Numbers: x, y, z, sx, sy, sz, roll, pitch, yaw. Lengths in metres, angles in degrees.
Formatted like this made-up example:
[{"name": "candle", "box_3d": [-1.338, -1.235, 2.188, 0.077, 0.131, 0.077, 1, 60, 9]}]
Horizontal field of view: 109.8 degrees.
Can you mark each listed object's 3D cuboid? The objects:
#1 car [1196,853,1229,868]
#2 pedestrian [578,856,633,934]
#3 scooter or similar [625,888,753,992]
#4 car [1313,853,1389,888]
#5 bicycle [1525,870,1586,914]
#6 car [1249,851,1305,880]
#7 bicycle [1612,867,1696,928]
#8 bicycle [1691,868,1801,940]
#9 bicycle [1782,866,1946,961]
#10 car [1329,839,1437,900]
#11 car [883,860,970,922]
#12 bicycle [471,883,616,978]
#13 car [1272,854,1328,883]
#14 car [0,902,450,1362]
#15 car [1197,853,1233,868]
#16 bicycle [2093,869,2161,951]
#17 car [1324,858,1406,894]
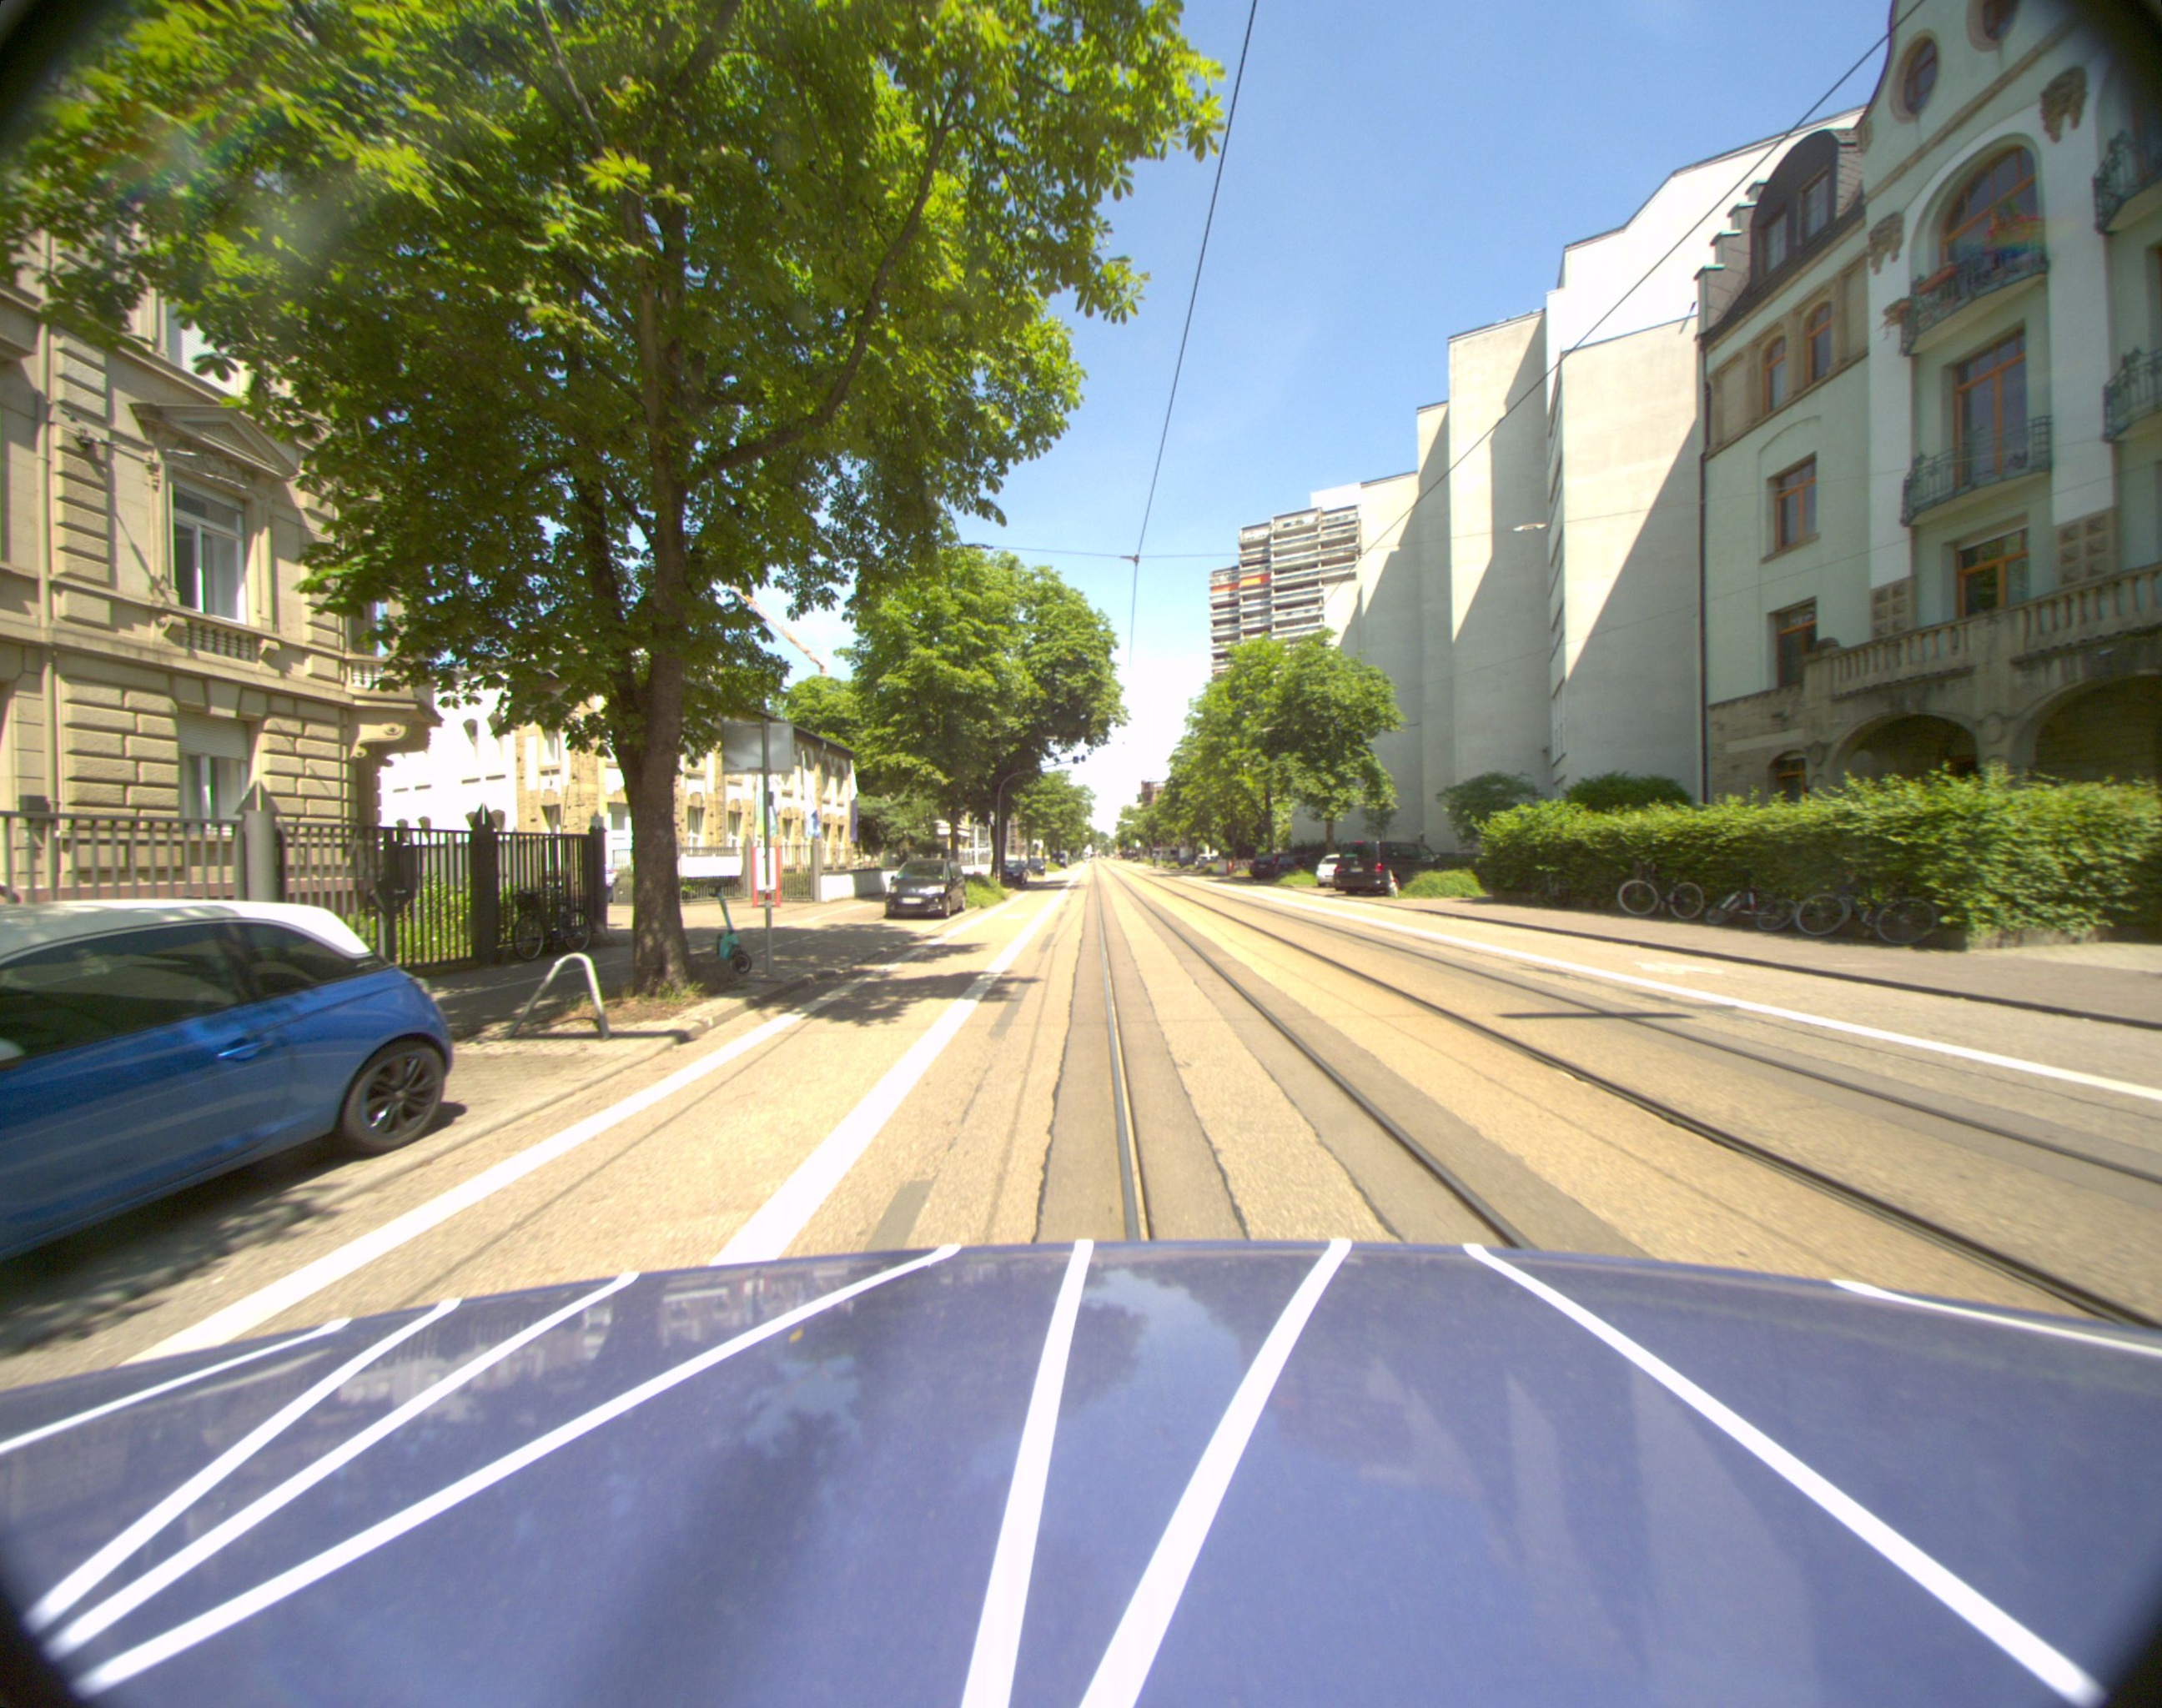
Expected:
[{"name": "car", "box_3d": [12.740, 0.637, 73.622, 3.316, 1.293, 1.361, -2, 1, -44]}, {"name": "pedestrian", "box_3d": [-10.254, 0.872, 16.394, 0.669, 1.627, 0.665, -2, 1, 18]}, {"name": "scooter or similar", "box_3d": [-5.080, 1.098, 9.904, 1.378, 1.225, 0.375, -2, 1, -13]}, {"name": "car", "box_3d": [12.189, 0.706, 34.194, 1.735, 1.417, 3.898, -1, 1, 44]}, {"name": "bicycle", "box_3d": [11.281, 0.886, 18.132, 0.340, 0.935, 1.728, -3, 0, 0]}, {"name": "car", "box_3d": [11.380, 0.666, 43.975, 1.636, 1.540, 3.815, -1, 1, 40]}, {"name": "bicycle", "box_3d": [11.125, 0.810, 14.816, 0.340, 1.062, 1.728, -2, 1, 0]}, {"name": "bicycle", "box_3d": [11.110, 0.803, 12.765, 0.340, 1.062, 1.728, -2, 1, 0]}, {"name": "bicycle", "box_3d": [11.073, 0.790, 10.847, 0.340, 1.157, 1.933, -2, 1, 0]}, {"name": "car", "box_3d": [10.957, 0.525, 27.491, 3.915, 1.958, 1.908, -3, 1, -39]}, {"name": "car", "box_3d": [-4.314, 0.986, 21.747, 1.647, 1.587, 4.115, 0, -1, 0]}, {"name": "bicycle", "box_3d": [-8.292, 1.134, 11.862, 0.688, 1.217, 2.118, -2, 1, 0]}, {"name": "car", "box_3d": [11.887, 0.754, 41.089, 1.488, 1.391, 3.287, -1, 1, 44]}, {"name": "car", "box_3d": [-4.694, 1.079, 2.861, 1.614, 1.488, 3.582, 0, 1, 0]}, {"name": "car", "box_3d": [12.456, 0.596, 70.597, 3.490, 1.259, 1.492, -2, 1, -44]}, {"name": "bicycle", "box_3d": [14.286, 0.684, 9.680, 2.228, 0.990, 0.374, -2, 1, 1]}, {"name": "car", "box_3d": [11.589, 0.853, 30.895, 3.568, 1.232, 1.518, -3, 1, -39]}]
